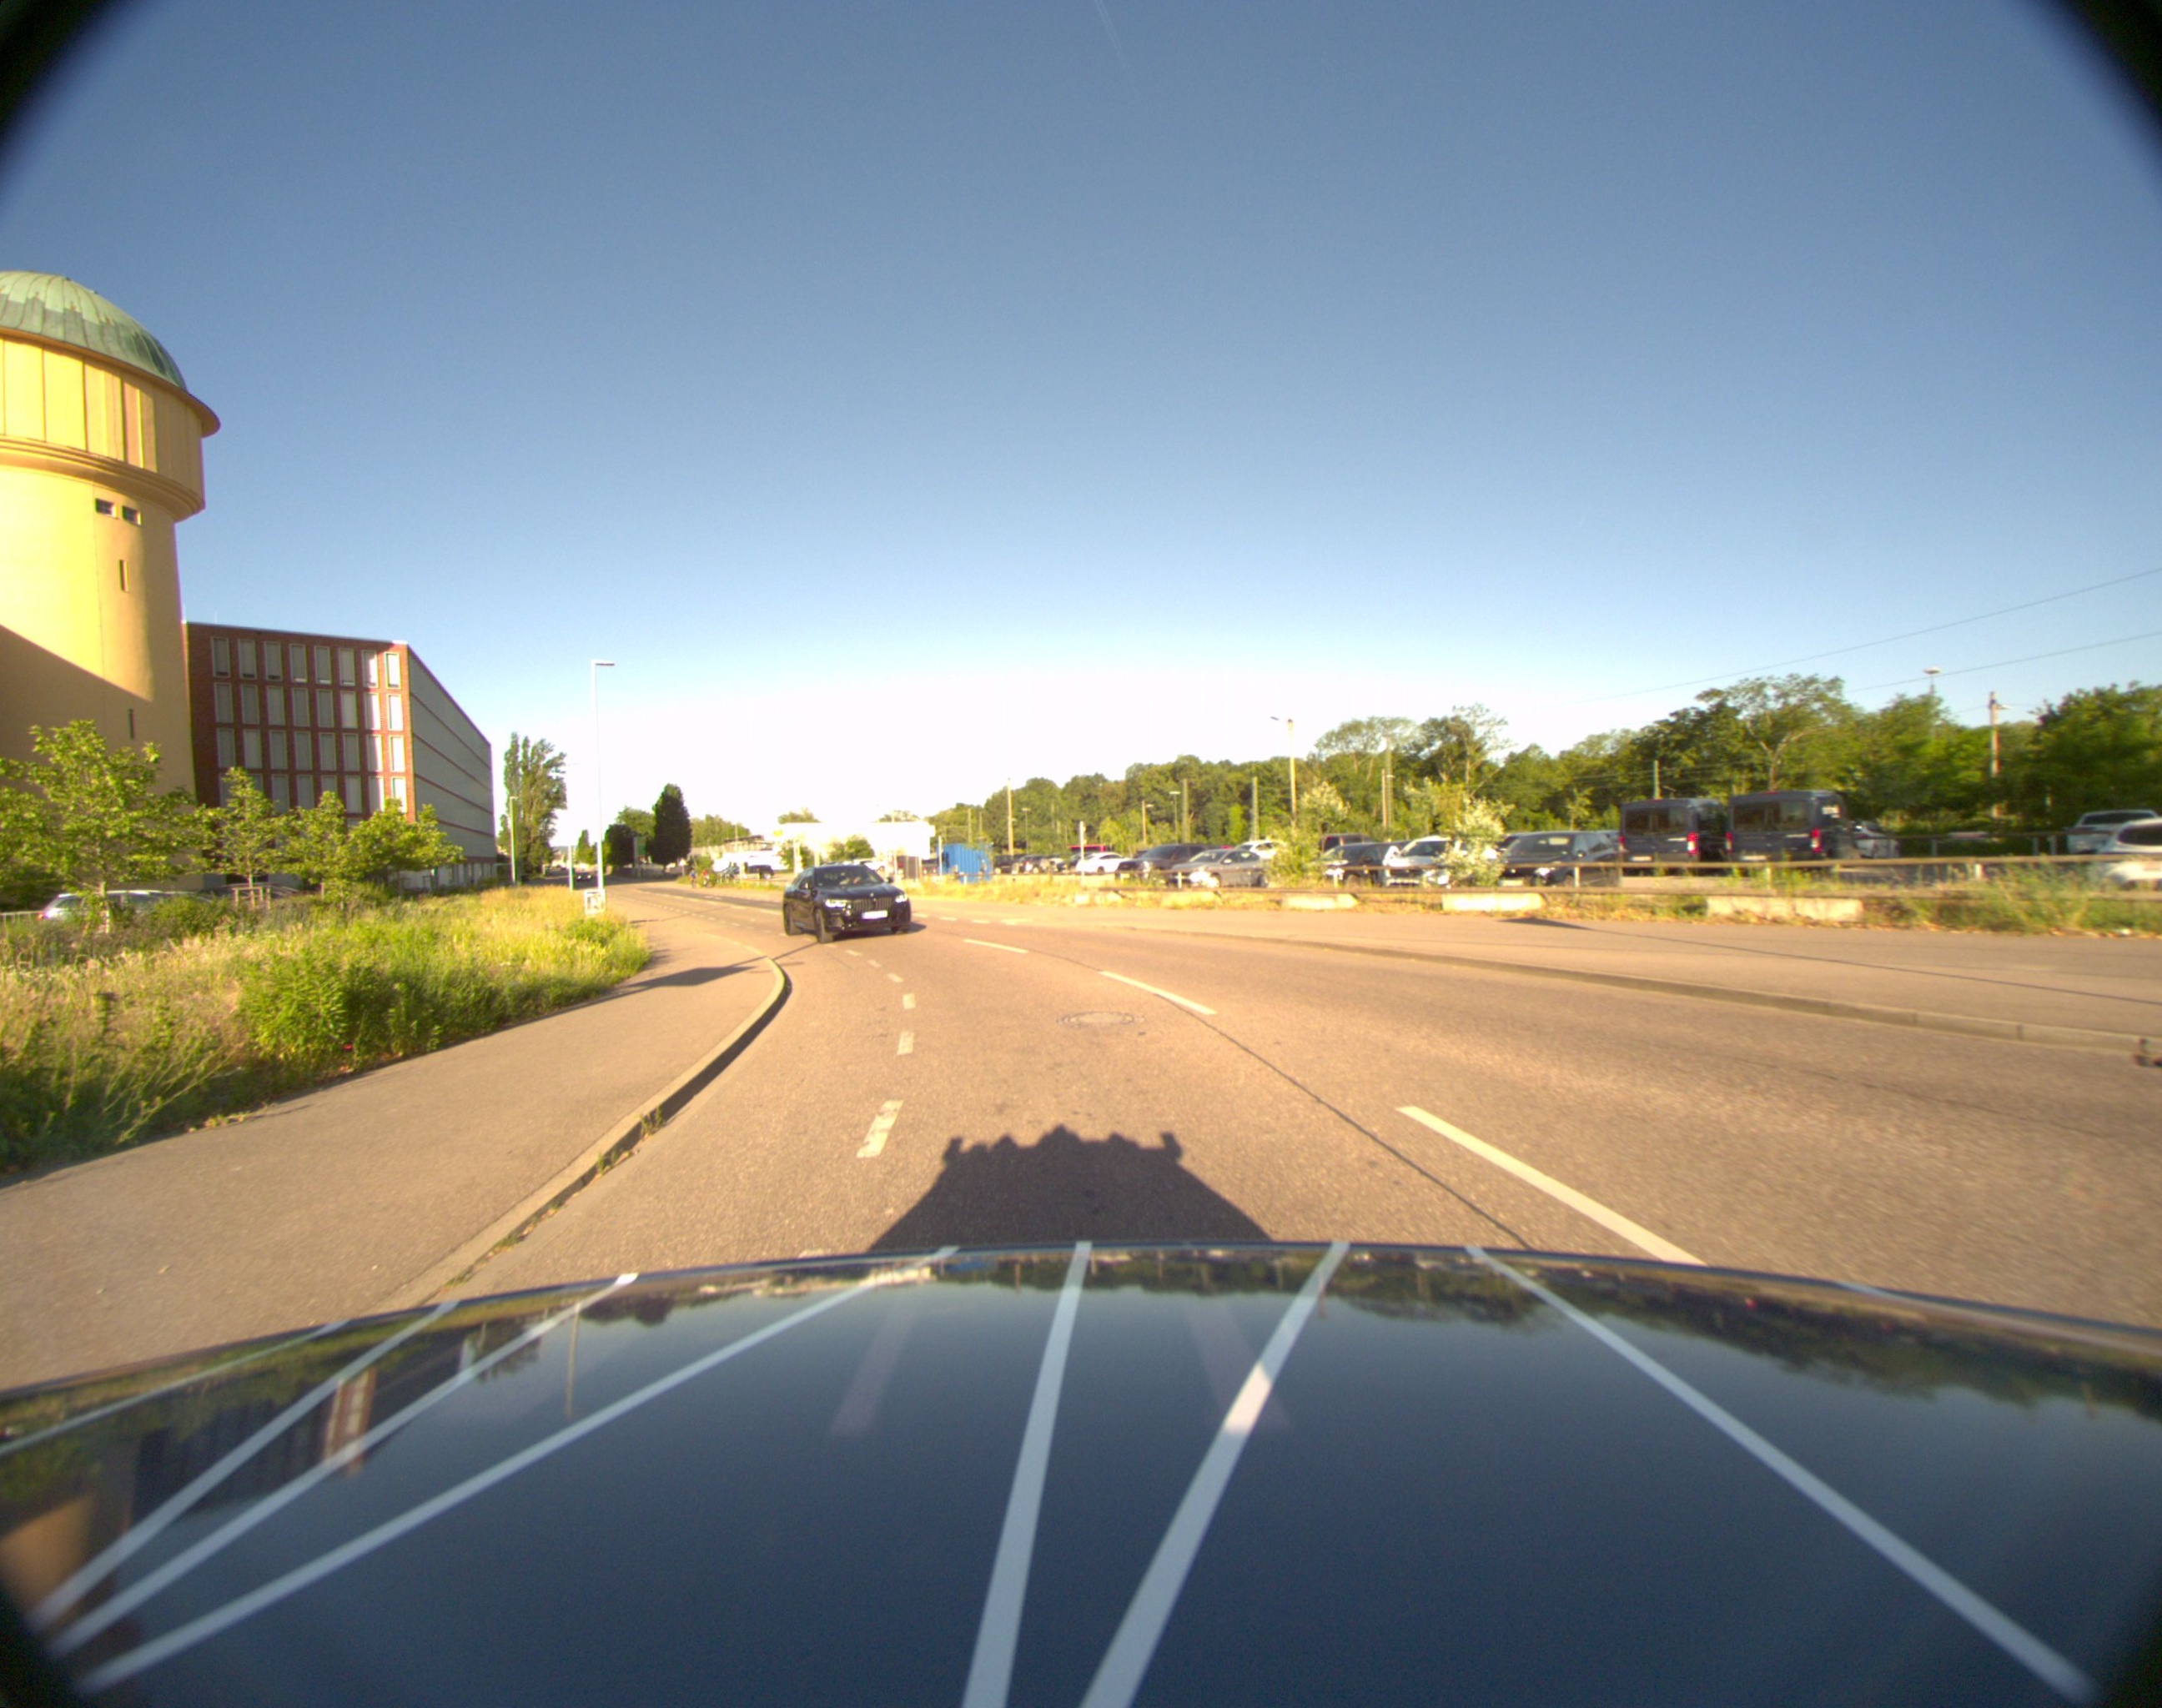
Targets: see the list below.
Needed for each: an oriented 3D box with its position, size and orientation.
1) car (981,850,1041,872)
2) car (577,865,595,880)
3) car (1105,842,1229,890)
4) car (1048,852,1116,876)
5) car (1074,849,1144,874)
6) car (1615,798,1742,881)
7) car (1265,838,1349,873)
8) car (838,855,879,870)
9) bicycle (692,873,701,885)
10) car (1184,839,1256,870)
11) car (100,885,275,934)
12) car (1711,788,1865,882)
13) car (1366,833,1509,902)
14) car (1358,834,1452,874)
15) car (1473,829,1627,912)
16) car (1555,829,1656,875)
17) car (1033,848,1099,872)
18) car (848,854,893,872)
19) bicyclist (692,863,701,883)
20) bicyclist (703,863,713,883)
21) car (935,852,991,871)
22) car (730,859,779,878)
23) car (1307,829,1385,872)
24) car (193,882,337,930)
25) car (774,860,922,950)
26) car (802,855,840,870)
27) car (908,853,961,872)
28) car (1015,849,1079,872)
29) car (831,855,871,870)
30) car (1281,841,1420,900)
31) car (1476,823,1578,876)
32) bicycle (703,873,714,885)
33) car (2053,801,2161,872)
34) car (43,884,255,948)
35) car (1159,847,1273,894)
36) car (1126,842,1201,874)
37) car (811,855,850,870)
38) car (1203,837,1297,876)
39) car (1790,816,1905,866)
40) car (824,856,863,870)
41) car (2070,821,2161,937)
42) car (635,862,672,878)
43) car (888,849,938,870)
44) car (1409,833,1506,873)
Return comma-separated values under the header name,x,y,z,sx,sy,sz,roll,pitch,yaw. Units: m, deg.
name,x,y,z,sx,sy,sz,roll,pitch,yaw
car,-5.656,0.555,61.647,4.454,1.505,1.865,-4,2,-37
car,-74.739,2.776,114.747,2.003,2.002,3.990,-3,1,-35
car,3.379,0.433,29.481,4.547,1.733,2.063,0,-1,-36
car,0.098,0.669,52.557,4.454,1.435,1.865,-3,1,-37
car,1.888,0.493,50.495,4.454,1.370,1.865,-4,2,-37
car,19.496,-0.510,24.728,4.489,2.453,2.123,-3,1,-37
car,11.293,0.063,37.899,3.949,1.479,1.886,-4,2,-35
car,-25.661,0.999,87.727,4.165,1.477,1.757,-5,2,-39
bicycle,-36.204,2.371,71.597,0.504,1.118,1.562,-4,1,-34
car,7.872,0.004,42.860,4.006,1.496,1.721,-4,2,-37
car,-34.953,2.133,29.903,4.006,1.541,1.830,-3,1,-31
car,21.179,-0.587,22.679,5.521,2.502,2.396,-3,1,-37
car,9.642,0.321,20.421,4.065,1.601,1.882,-3,1,-40
car,14.349,-0.019,33.592,4.006,1.585,1.995,-3,1,-35
car,11.306,0.325,18.207,4.152,1.645,1.868,-4,1,-40
car,19.236,-0.095,27.812,3.757,1.499,1.830,-3,1,-35
car,-1.036,0.439,54.995,4.454,1.458,1.865,-4,2,-37
car,-23.822,0.988,86.163,4.454,1.768,1.865,-4,1,-38
bicyclist,-36.220,1.822,71.597,0.570,1.860,0.851,-4,1,-35
bicyclist,-34.488,1.764,70.289,0.570,1.860,0.851,-4,1,-35
car,-10.463,0.642,67.524,4.454,1.370,1.865,-4,2,-37
car,-36.482,1.597,84.890,4.664,1.731,1.797,-4,2,-37
car,12.490,-0.174,35.759,3.786,1.724,1.766,-5,2,-42
car,-41.148,2.561,38.503,4.539,2.002,1.995,-3,1,-33
car,-5.655,1.083,17.990,2.051,1.705,4.739,-4,1,-33
car,-33.781,1.106,98.802,1.740,1.600,4.312,-3,2,35
car,-13.853,0.785,71.956,4.452,1.436,1.917,-4,2,-30
car,-2.521,0.491,57.210,4.454,1.421,1.865,-4,2,-37
car,-27.158,1.044,89.736,4.164,1.479,1.761,-5,2,-40
car,8.046,0.450,22.600,4.006,1.506,1.851,-3,1,-34
car,17.126,-0.188,29.113,4.005,1.572,1.823,-7,3,-35
bicycle,-34.481,2.323,70.334,0.559,1.058,1.720,-4,1,-34
car,29.351,-0.523,21.582,4.209,1.798,1.982,-4,1,-36
car,-33.195,2.130,27.289,4.340,1.817,1.995,-3,1,-34
car,4.843,0.555,27.065,3.932,1.445,1.834,-3,1,-40
car,5.013,0.240,45.879,4.209,1.580,1.982,-5,2,-37
car,-31.930,1.108,96.982,1.781,1.615,4.329,-3,2,35
car,8.921,0.110,39.997,4.708,1.685,2.035,-5,2,-33
car,26.178,-0.448,25.928,4.209,1.490,1.982,-3,1,-34
car,-28.708,1.089,92.022,4.019,1.479,1.761,-5,2,-40
car,16.664,0.290,11.525,4.280,1.502,1.887,-3,1,-36
car,-80.820,2.942,143.765,5.783,2.686,1.995,-3,1,-35
car,-16.790,0.564,76.135,4.452,1.767,1.865,-4,2,-29
car,15.477,-0.038,31.208,4.006,1.423,1.756,-3,1,-34
